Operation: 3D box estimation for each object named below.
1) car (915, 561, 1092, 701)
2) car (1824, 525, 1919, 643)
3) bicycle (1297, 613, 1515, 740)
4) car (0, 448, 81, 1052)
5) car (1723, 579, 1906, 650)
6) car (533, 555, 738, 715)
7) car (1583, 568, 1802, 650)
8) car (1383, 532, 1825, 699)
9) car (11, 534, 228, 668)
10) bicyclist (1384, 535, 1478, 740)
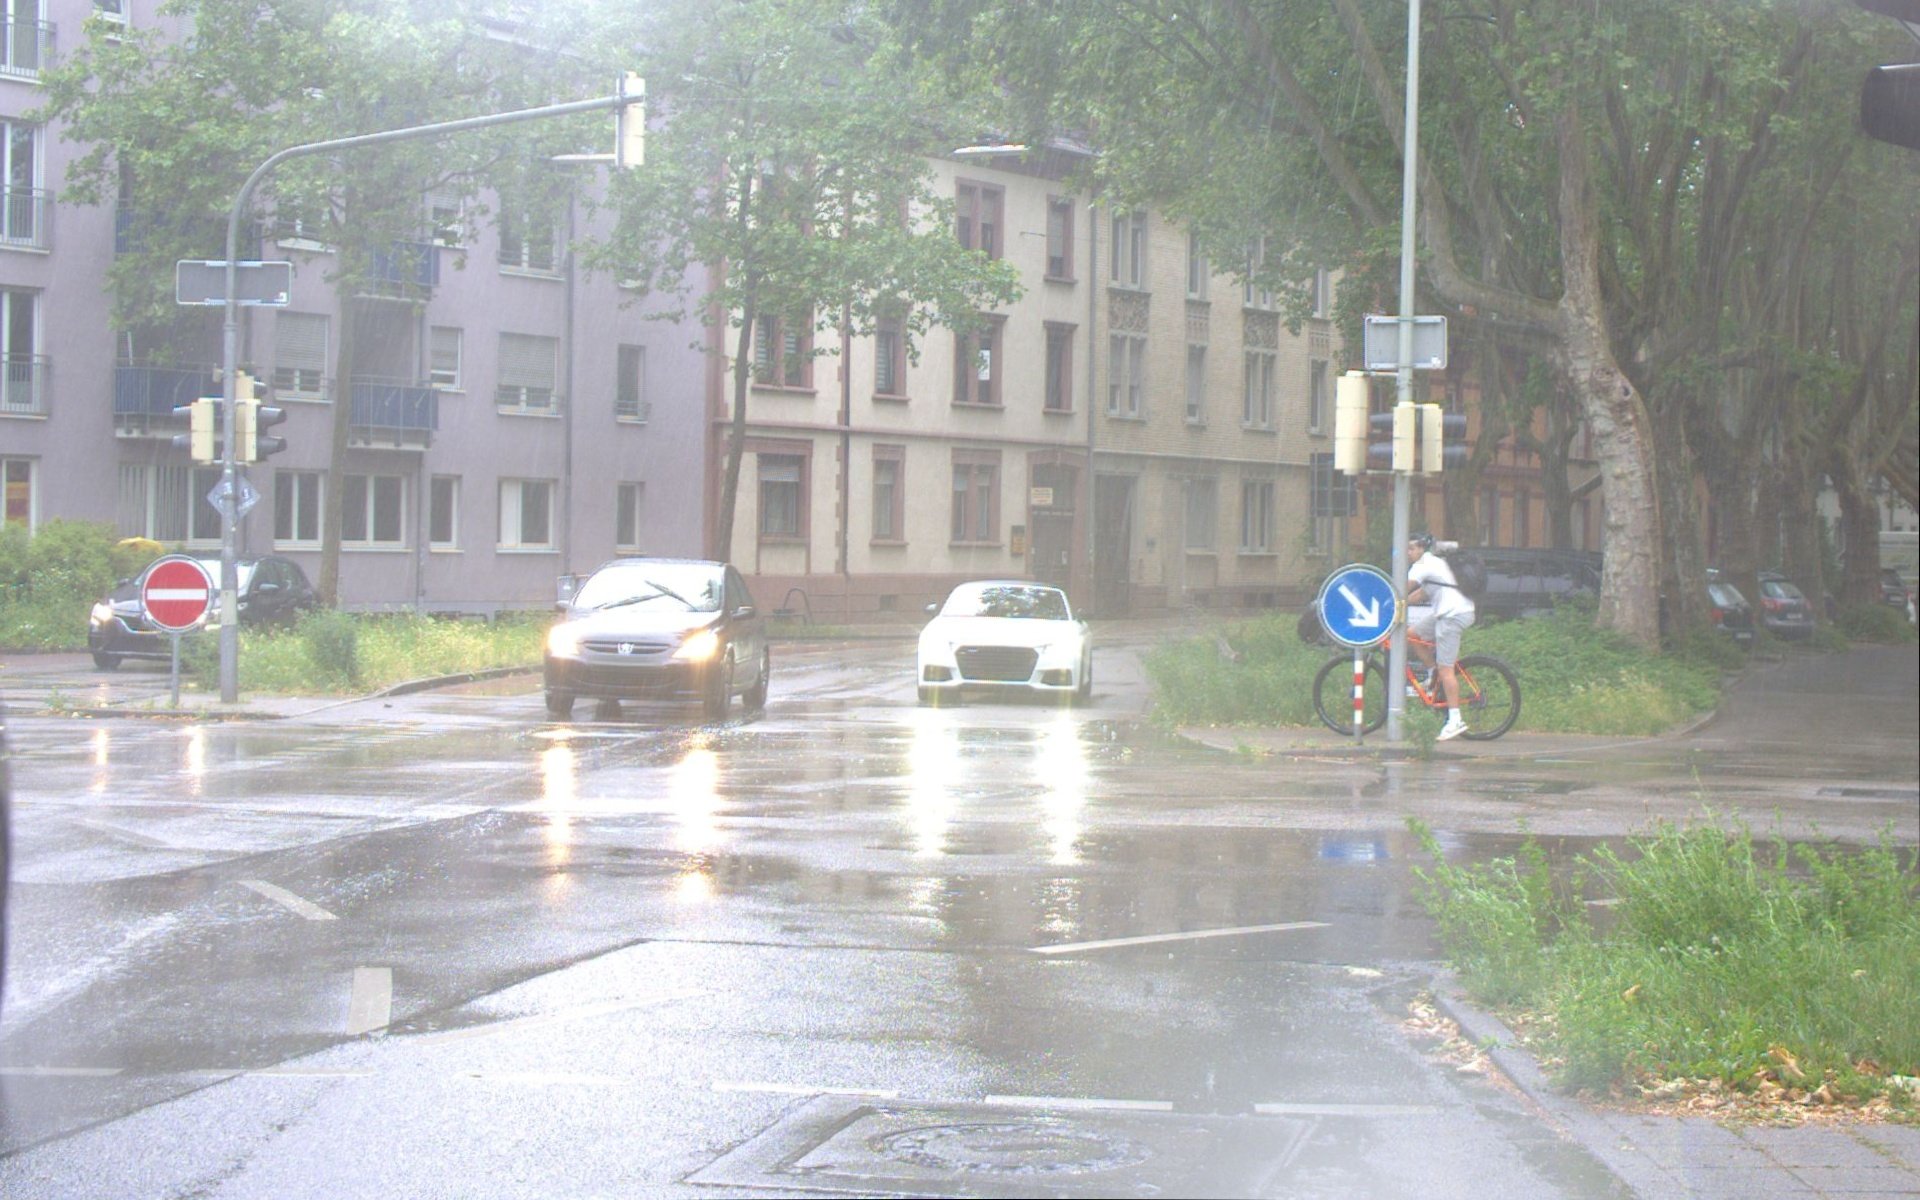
[{"bbox_3d":[0.522,0.312,39.118,1.884,1.431,4.000,1,1,1],"label":"car"},{"bbox_3d":[24.334,-0.421,87.727,2.033,2.938,4.773,1,1,-21],"label":"car"},{"bbox_3d":[3.942,0.668,30.397,1.873,1.077,0.657,1,0,8],"label":"bicycle"},{"bbox_3d":[-3.530,0.451,8.210,1.803,1.677,4.604,0,1,-2],"label":"car"},{"bbox_3d":[19.518,0.308,78.664,3.989,1.542,1.999,1,1,12],"label":"car"},{"bbox_3d":[-3.115,0.307,33.639,1.714,1.454,3.748,1,1,-1],"label":"car"},{"bbox_3d":[13.936,0.155,65.453,3.989,1.481,1.999,1,1,12],"label":"car"},{"bbox_3d":[6.128,0.122,32.709,3.989,1.481,1.999,1,1,12],"label":"car"},{"bbox_3d":[-10.089,-0.024,41.497,1.751,1.506,3.839,1,1,-2],"label":"car"},{"bbox_3d":[4.158,0.319,30.367,0.795,1.780,0.697,1,0,7],"label":"bicyclist"}]
